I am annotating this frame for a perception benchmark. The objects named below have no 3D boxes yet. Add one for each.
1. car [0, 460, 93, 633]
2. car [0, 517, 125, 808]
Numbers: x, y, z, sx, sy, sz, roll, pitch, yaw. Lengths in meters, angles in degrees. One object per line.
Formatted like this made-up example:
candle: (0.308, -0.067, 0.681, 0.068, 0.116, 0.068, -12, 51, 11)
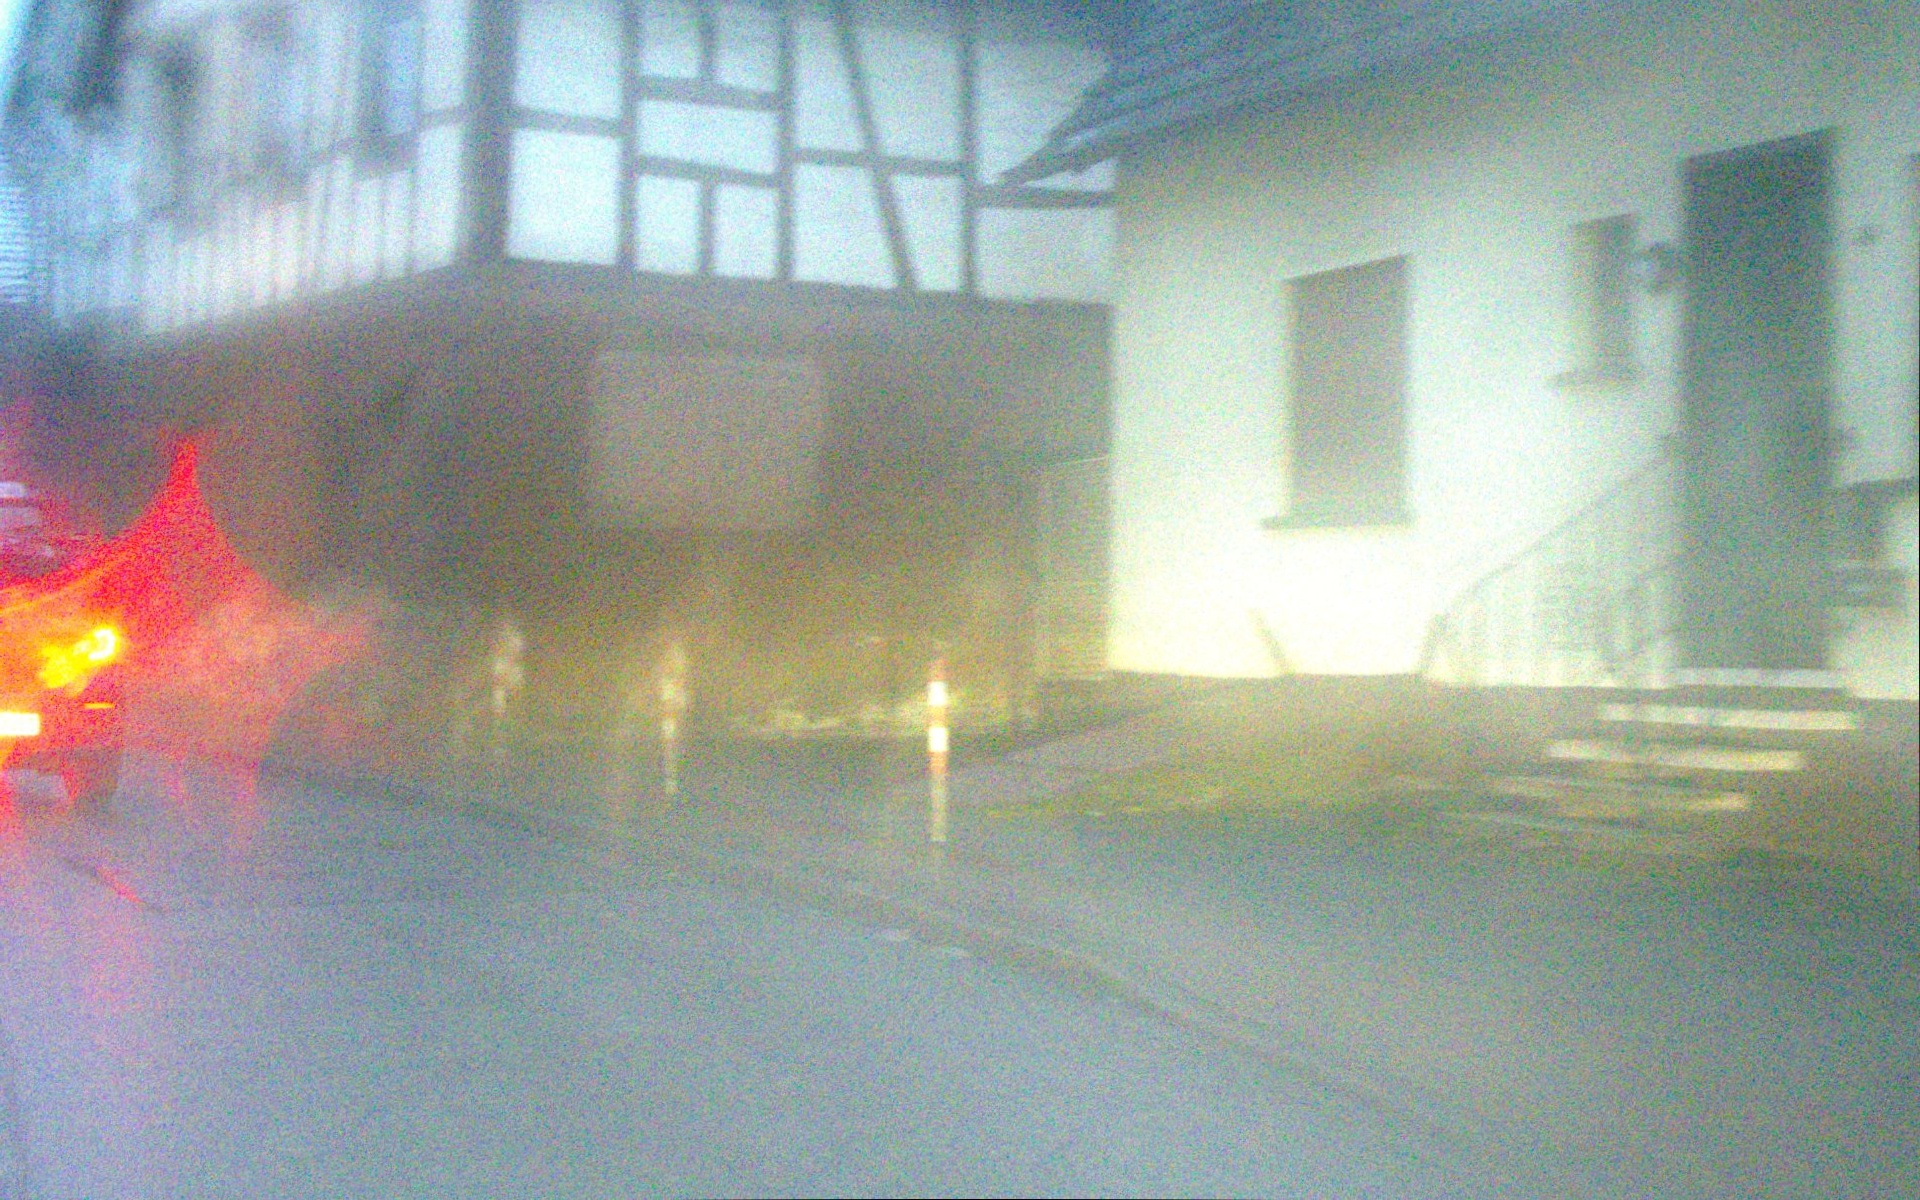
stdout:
car: (-9.956, -0.597, 35.718, 1.592, 1.510, 3.987, -1, 5, -17)
car: (-5.898, 0.258, 18.797, 1.546, 1.461, 3.699, 2, 1, -30)
